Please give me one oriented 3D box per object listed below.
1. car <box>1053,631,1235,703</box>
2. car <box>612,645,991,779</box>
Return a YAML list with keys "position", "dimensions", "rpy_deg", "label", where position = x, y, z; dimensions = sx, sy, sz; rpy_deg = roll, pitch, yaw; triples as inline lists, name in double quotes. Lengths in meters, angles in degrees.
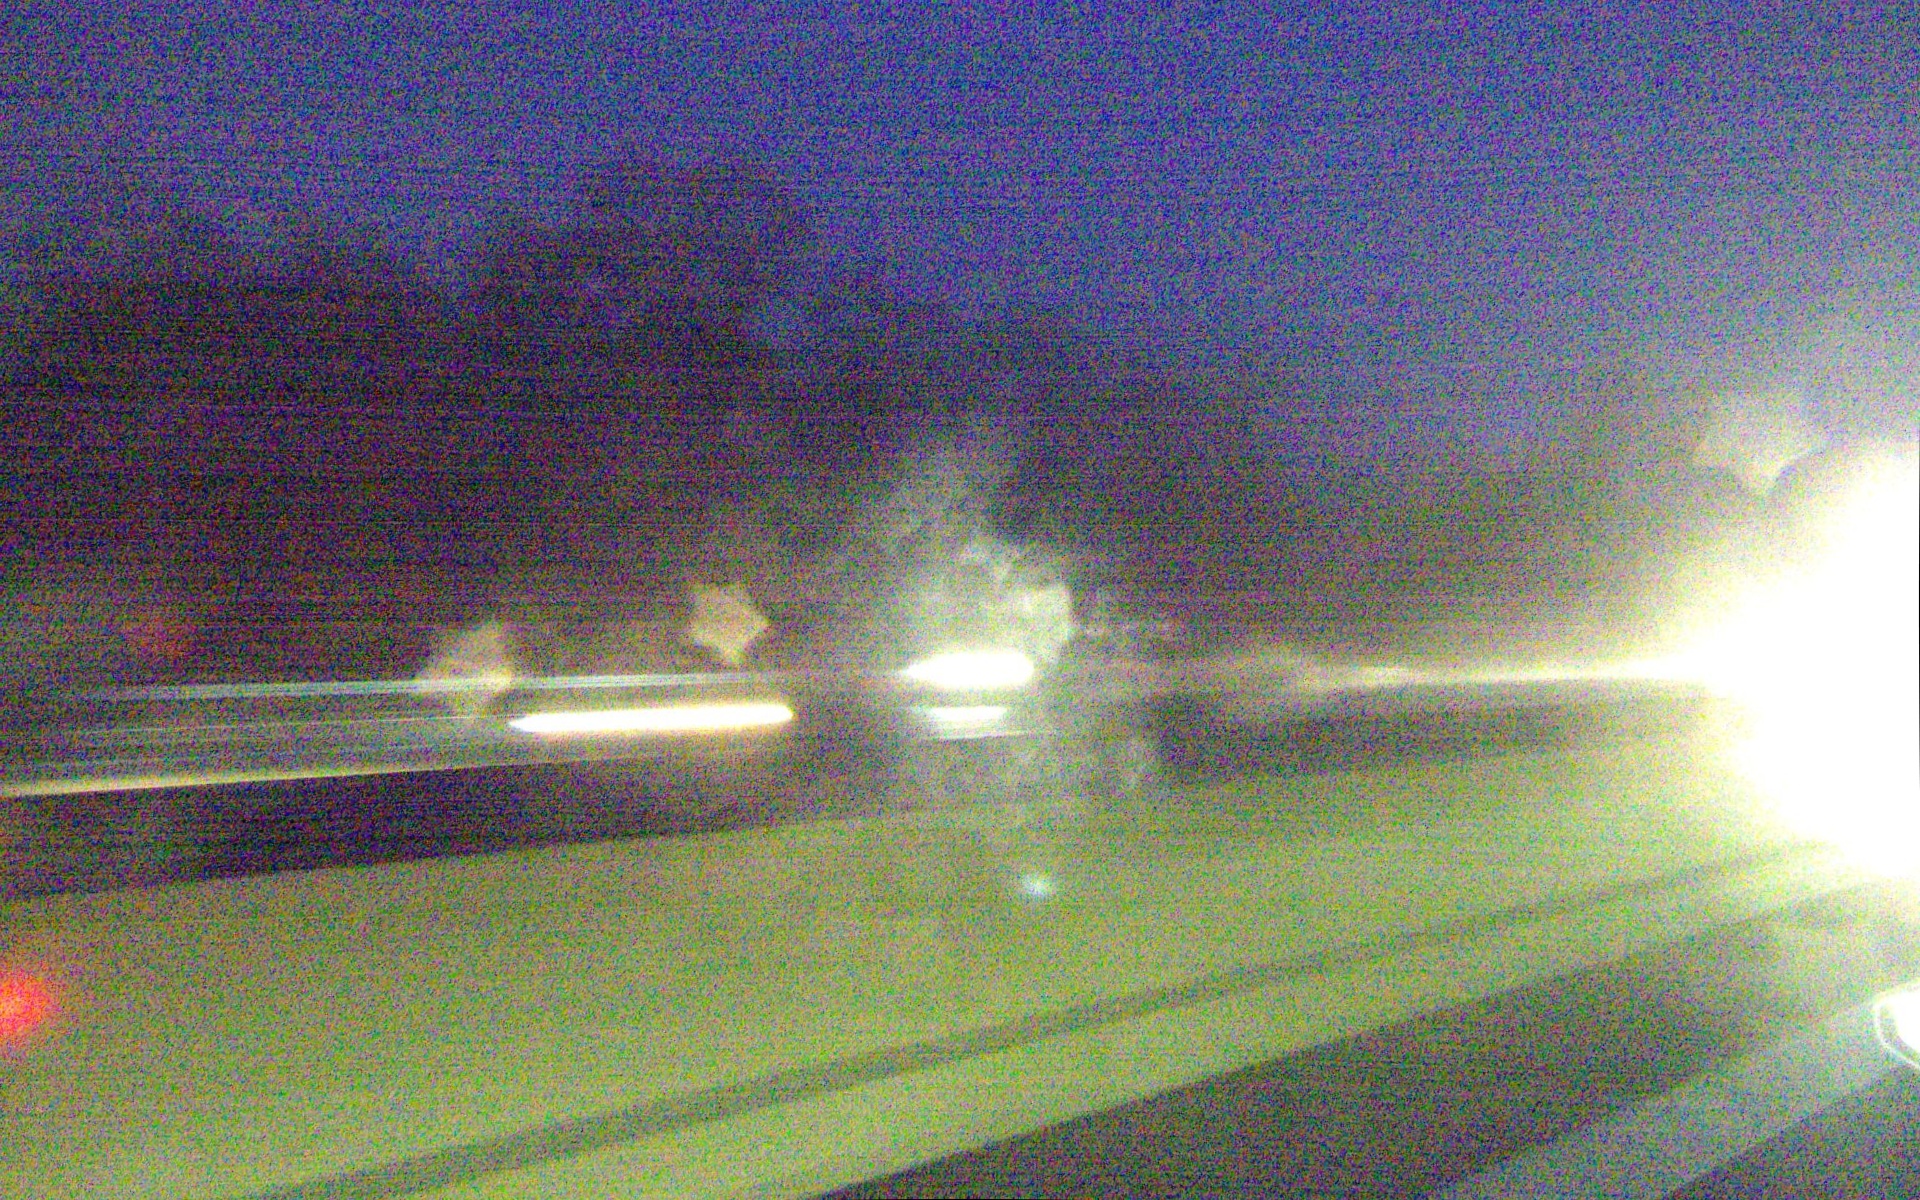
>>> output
- position: [5.505, 1.909, 29.754]
  dimensions: [5.323, 1.973, 1.984]
  rpy_deg: [1, -2, -30]
  label: "car"
- position: [-2.025, 1.331, 13.178]
  dimensions: [4.536, 1.434, 1.984]
  rpy_deg: [1, -2, -30]
  label: "car"
